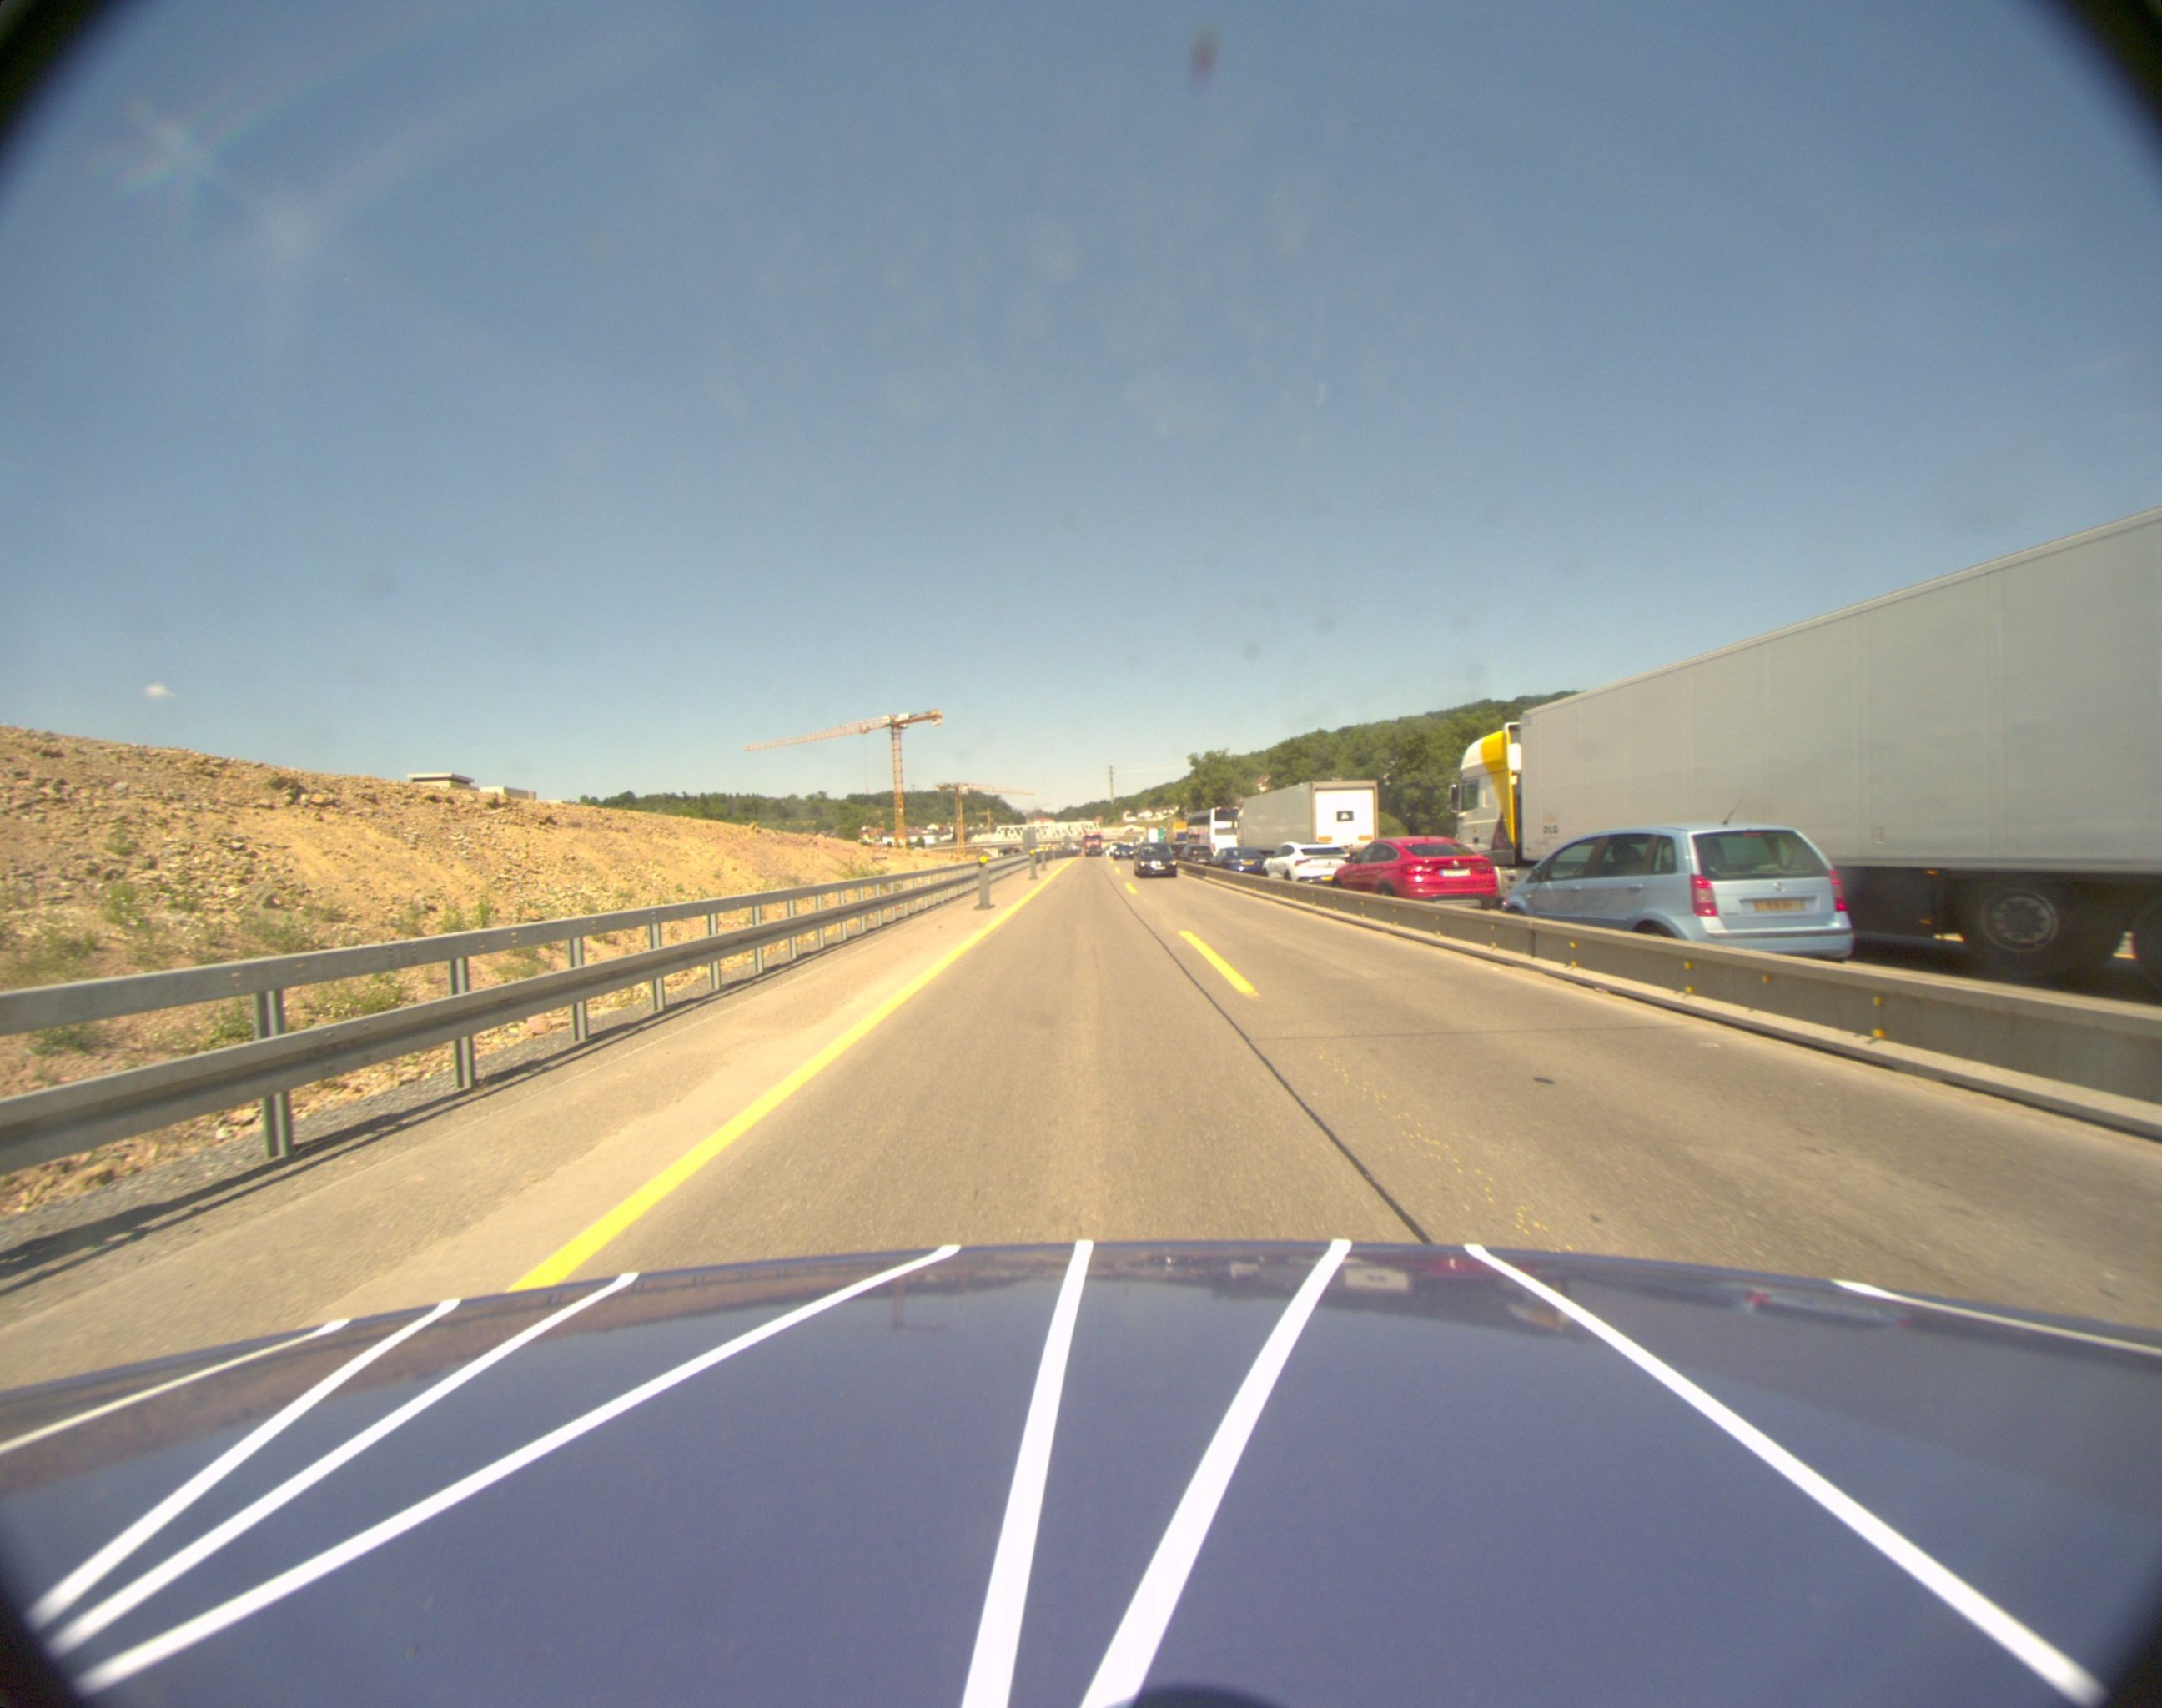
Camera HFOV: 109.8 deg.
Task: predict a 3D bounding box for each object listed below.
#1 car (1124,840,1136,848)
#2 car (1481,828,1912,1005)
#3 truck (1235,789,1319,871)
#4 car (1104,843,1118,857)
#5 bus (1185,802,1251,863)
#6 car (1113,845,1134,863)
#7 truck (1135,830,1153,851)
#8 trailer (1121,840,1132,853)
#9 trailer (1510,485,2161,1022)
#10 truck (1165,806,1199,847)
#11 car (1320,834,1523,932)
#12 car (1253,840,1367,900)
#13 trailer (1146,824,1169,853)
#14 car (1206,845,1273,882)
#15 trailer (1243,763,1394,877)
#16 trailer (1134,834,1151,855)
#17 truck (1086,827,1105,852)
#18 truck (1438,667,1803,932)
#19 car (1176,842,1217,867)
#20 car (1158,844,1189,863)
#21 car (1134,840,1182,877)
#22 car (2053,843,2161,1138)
[{"bbox_3d":[9.704,-1.921,151.264,1.998,1.489,4.974,-1,0,1],"label":"car"},{"bbox_3d":[6.646,0.538,8.908,1.831,1.565,3.999,-1,1,0],"label":"car"},{"bbox_3d":[10.883,-1.257,42.964,3.104,4.173,6.702,-2,0,2],"label":"truck"},{"bbox_3d":[4.122,-0.543,104.988,1.791,1.870,4.001,-3,-1,2],"label":"car"},{"bbox_3d":[10.721,-1.636,61.142,2.746,4.240,14.473,-1,1,1],"label":"bus"},{"bbox_3d":[4.005,0.020,71.744,1.791,1.578,4.001,-3,-1,2],"label":"car"},{"bbox_3d":[12.464,-2.609,150.125,2.911,3.742,8.369,-2,-1,1],"label":"truck"},{"bbox_3d":[15.338,-2.511,257.083,2.814,4.151,11.798,-2,-1,-2],"label":"trailer"},{"bbox_3d":[9.965,-0.831,8.083,2.993,4.184,13.944,-2,0,1],"label":"trailer"},{"bbox_3d":[11.336,-2.998,85.907,2.809,4.127,10.082,0,-1,2],"label":"truck"},{"bbox_3d":[6.721,0.531,15.699,1.998,1.621,4.758,-3,-1,0],"label":"car"},{"bbox_3d":[6.881,0.456,23.406,1.998,1.611,4.882,-2,0,0],"label":"car"},{"bbox_3d":[12.394,-2.482,123.823,2.822,4.405,13.168,-1,1,2],"label":"trailer"},{"bbox_3d":[6.933,0.433,33.775,1.817,1.429,5.121,-3,-1,0],"label":"car"},{"bbox_3d":[10.784,-1.383,36.705,3.148,4.358,14.077,-2,0,1],"label":"trailer"},{"bbox_3d":[13.777,-2.107,171.046,3.109,4.438,13.021,-1,0,2],"label":"trailer"},{"bbox_3d":[2.267,-2.161,115.924,2.702,3.705,8.508,-2,1,2],"label":"truck"},{"bbox_3d":[10.038,-0.891,15.109,2.985,4.160,5.873,-2,1,-1],"label":"truck"},{"bbox_3d":[7.260,0.002,48.194,1.837,1.415,4.682,-1,1,0],"label":"car"},{"bbox_3d":[7.582,-0.051,62.698,1.923,1.415,5.090,-3,0,1],"label":"car"},{"bbox_3d":[3.684,0.196,37.029,1.862,1.683,4.097,-1,0,-1],"label":"car"},{"bbox_3d":[6.696,0.687,2.271,1.999,1.547,4.338,-2,0,-1],"label":"car"}]
